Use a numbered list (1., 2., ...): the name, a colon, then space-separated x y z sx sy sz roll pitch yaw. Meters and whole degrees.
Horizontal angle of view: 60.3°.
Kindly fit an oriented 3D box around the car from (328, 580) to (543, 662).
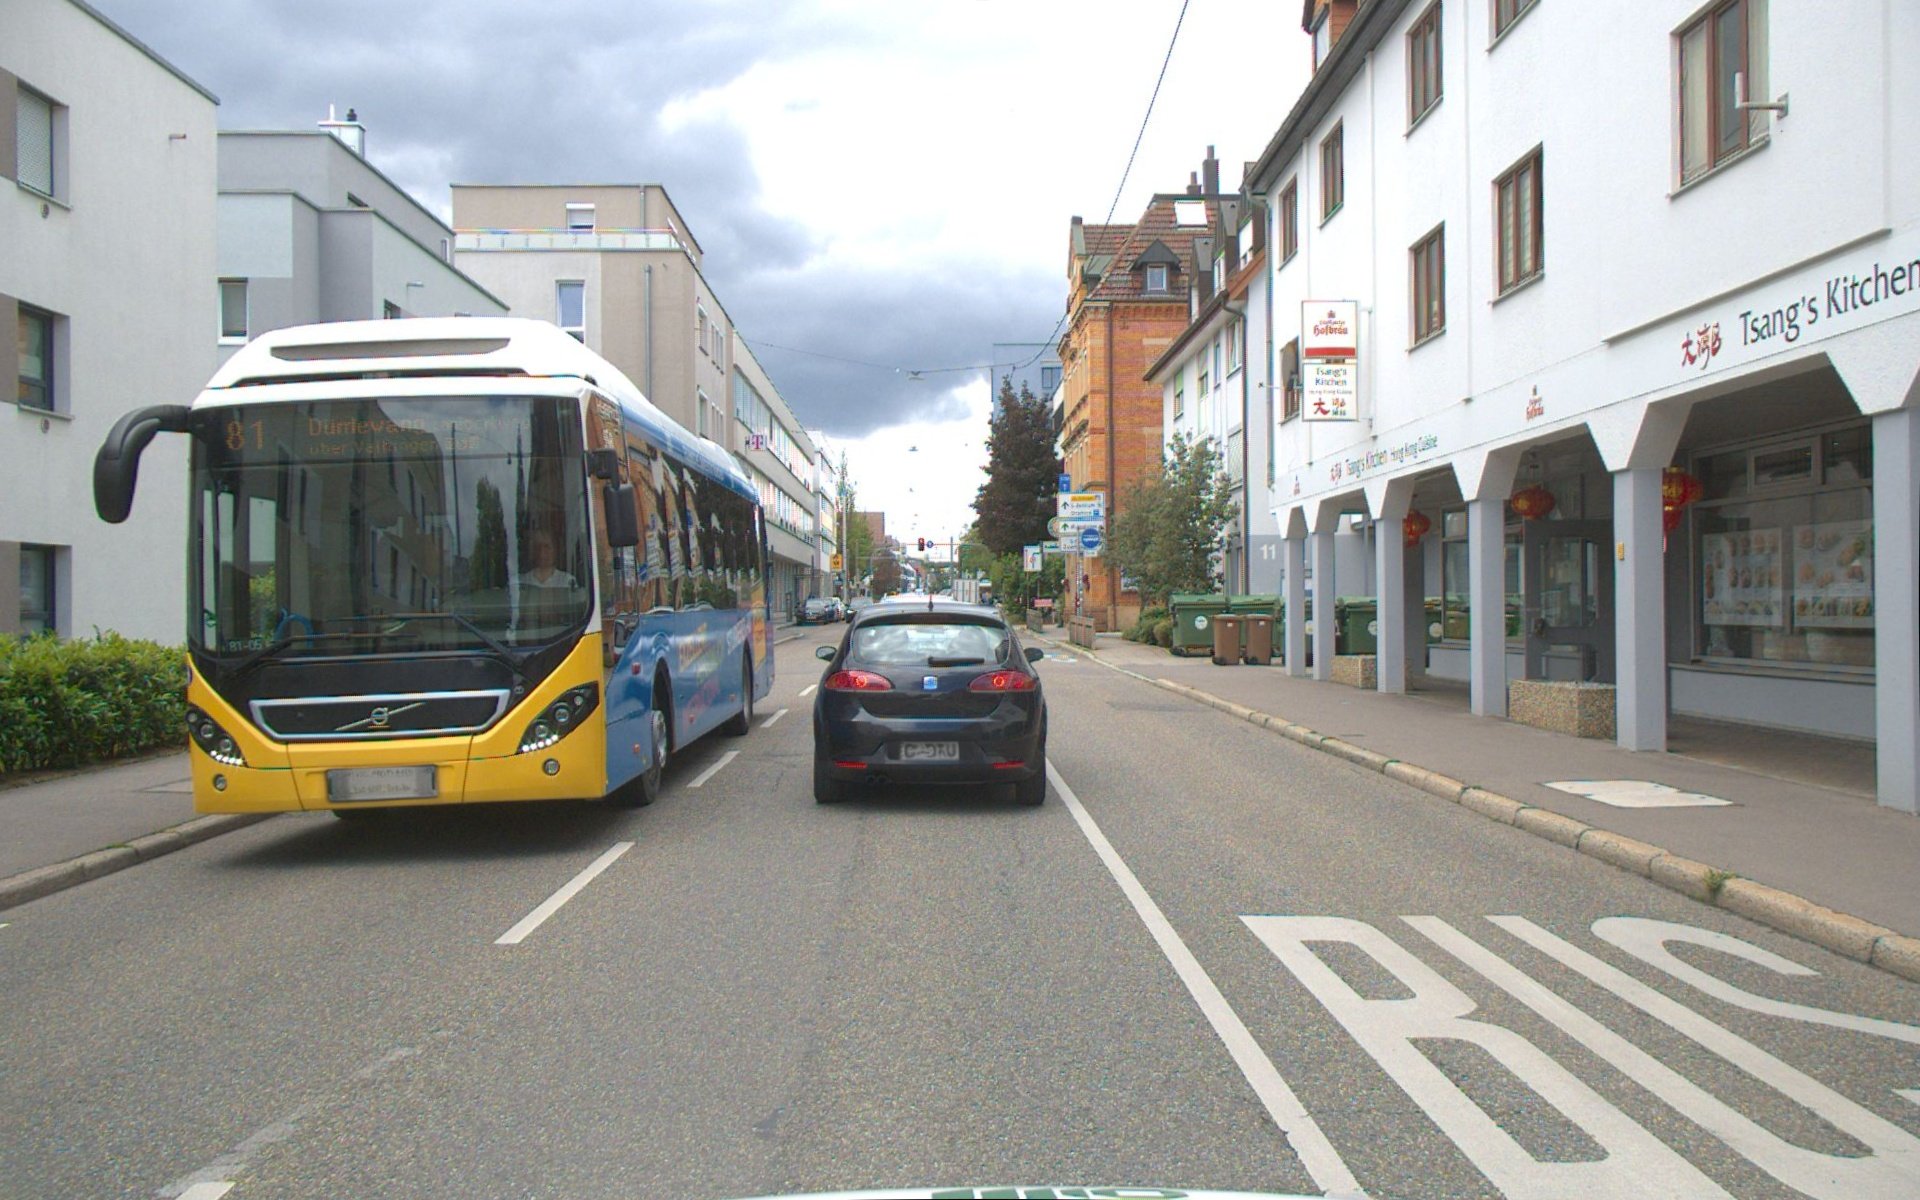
1. car: -11.313 0.444 35.832 4.076 1.697 1.725 0 -1 2

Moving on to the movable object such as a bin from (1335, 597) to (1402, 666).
1. movable object such as a bin: 8.715 0.661 35.346 1.184 1.442 1.260 0 0 3

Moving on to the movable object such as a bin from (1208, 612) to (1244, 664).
1. movable object such as a bin: 5.728 0.809 35.671 0.669 1.086 0.972 0 0 3

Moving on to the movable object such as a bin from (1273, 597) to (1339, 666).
1. movable object such as a bin: 7.380 0.663 35.333 1.184 1.442 1.260 0 0 3

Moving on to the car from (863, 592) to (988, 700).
1. car: -0.546 0.648 25.328 1.767 1.519 3.736 0 0 -2

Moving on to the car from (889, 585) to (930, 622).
1. car: -2.253 0.159 74.062 1.767 1.580 3.736 0 0 -2

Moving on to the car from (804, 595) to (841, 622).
1. car: -8.098 0.472 97.630 1.953 1.543 4.173 0 0 -2

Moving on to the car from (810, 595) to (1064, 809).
1. car: -0.192 0.692 13.217 1.730 1.458 3.827 0 0 -1

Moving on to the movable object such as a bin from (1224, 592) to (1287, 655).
1. movable object such as a bin: 7.012 0.554 39.325 1.241 1.460 1.307 0 0 -1

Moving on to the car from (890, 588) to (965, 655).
1. car: -0.817 0.507 41.033 1.767 1.580 3.736 0 0 -2

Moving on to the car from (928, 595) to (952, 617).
1. car: -1.542 0.468 128.470 1.767 1.629 3.736 1 0 -2

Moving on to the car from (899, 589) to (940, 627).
1. car: -1.842 0.333 74.155 1.767 1.629 3.736 1 0 -2

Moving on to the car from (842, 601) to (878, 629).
1. car: -5.759 0.822 95.482 1.841 1.476 4.212 -3 0 -2

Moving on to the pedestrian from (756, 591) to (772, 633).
1. pedestrian: -8.378 0.520 70.843 0.630 1.800 0.809 0 0 -4

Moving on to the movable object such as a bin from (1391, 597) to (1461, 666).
1. movable object such as a bin: 9.947 0.662 35.338 1.184 1.442 1.260 0 0 3

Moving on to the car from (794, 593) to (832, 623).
1. car: -8.143 0.438 91.838 1.874 1.543 4.173 -1 0 -2

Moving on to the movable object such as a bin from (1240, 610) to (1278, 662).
1. movable object such as a bin: 6.443 0.763 35.661 0.683 1.098 0.972 0 0 3

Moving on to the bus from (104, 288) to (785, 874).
1. bus: -3.624 -0.145 15.631 2.883 3.331 12.004 -2 0 -1

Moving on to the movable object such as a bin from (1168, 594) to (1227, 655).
1. movable object such as a bin: 5.681 0.576 39.593 1.241 1.442 1.162 0 0 -1

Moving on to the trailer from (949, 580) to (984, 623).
1. trailer: 0.382 0.081 103.602 1.953 2.653 5.347 0 0 -2

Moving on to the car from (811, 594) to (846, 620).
1. car: -8.183 0.437 103.304 1.953 1.543 4.173 0 0 -2

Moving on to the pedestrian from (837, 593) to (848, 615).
1. pedestrian: -10.020 0.336 141.168 0.899 1.901 0.783 0 0 -2
